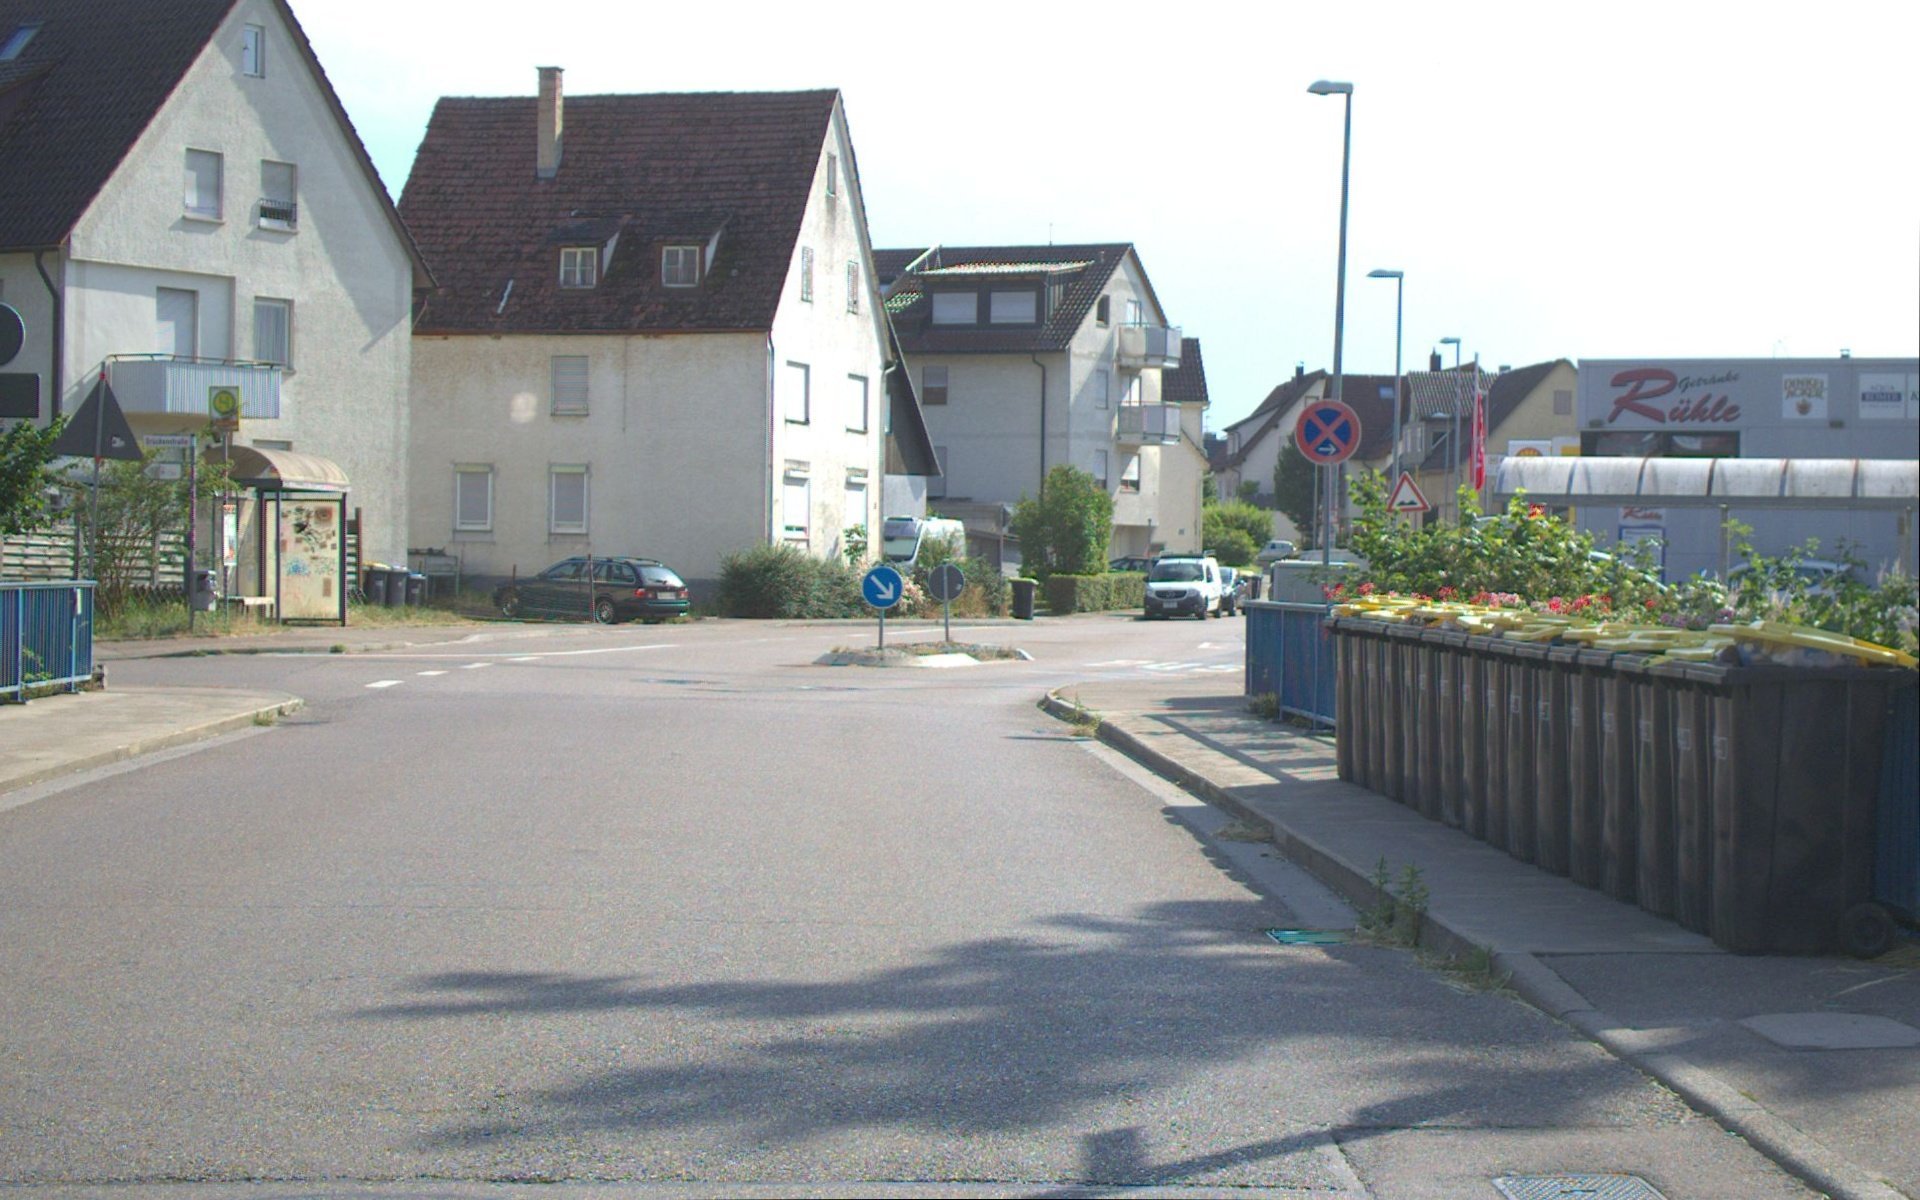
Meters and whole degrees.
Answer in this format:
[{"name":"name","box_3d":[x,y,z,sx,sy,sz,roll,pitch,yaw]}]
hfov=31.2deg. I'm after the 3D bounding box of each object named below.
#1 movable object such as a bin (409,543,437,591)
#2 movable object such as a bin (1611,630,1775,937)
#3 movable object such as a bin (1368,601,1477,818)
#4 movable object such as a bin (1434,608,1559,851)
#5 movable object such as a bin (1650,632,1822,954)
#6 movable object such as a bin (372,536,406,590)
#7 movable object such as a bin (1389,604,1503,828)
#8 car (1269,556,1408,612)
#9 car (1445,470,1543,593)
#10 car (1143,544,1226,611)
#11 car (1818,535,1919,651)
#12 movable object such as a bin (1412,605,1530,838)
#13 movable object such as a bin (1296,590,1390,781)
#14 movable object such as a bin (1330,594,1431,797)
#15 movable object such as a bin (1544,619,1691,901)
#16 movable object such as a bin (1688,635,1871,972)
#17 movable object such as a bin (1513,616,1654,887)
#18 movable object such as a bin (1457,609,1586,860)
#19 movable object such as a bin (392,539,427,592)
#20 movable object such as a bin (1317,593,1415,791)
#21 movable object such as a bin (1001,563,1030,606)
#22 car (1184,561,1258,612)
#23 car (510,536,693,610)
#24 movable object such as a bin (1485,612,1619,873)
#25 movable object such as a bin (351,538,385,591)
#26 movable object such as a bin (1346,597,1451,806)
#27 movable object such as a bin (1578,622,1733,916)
[{"name":"movable object such as a bin","box_3d":[-10.604,-0.652,67.916,0.361,0.922,0.399,1,0,29]},{"name":"movable object such as a bin","box_3d":[2.814,0.696,13.229,0.478,1.139,0.543,0,1,-3]},{"name":"movable object such as a bin","box_3d":[2.489,0.581,18.524,0.478,1.139,0.538,0,1,-3]},{"name":"movable object such as a bin","box_3d":[2.599,0.619,16.687,0.478,1.139,0.565,0,1,-3]},{"name":"movable object such as a bin","box_3d":[2.845,0.697,12.636,0.478,1.139,0.538,0,1,-3]},{"name":"movable object such as a bin","box_3d":[-11.110,-0.715,66.879,0.361,1.037,0.557,1,0,29]},{"name":"movable object such as a bin","box_3d":[2.529,0.596,17.921,0.478,1.139,0.538,0,1,-3]},{"name":"car","box_3d":[11.507,-0.497,104.698,1.994,1.602,3.999,0,2,-38]},{"name":"car","box_3d":[10.647,-1.369,68.643,1.837,2.366,5.177,1,1,9]},{"name":"car","box_3d":[6.493,-0.659,99.110,1.717,1.866,4.190,0,1,13]},{"name":"car","box_3d":[12.474,-0.094,42.729,3.440,1.412,1.497,0,0,17]},{"name":"movable object such as a bin","box_3d":[2.572,0.605,17.332,0.478,1.139,0.538,0,1,-3]},{"name":"movable object such as a bin","box_3d":[2.335,0.515,20.990,0.478,1.139,0.538,0,1,-3]},{"name":"movable object such as a bin","box_3d":[2.418,0.541,19.800,0.478,1.139,0.538,0,1,-3]},{"name":"movable object such as a bin","box_3d":[2.741,0.659,14.364,0.478,1.139,0.538,0,1,-3]},{"name":"movable object such as a bin","box_3d":[2.873,0.704,12.084,0.478,1.139,0.538,0,1,-3]},{"name":"movable object such as a bin","box_3d":[2.702,0.647,14.931,0.478,1.139,0.538,0,1,-3]},{"name":"movable object such as a bin","box_3d":[2.626,0.621,16.105,0.478,1.139,0.538,0,1,-3]},{"name":"movable object such as a bin","box_3d":[-10.783,-0.677,67.367,0.361,1.019,0.576,1,0,29]},{"name":"movable object such as a bin","box_3d":[2.401,0.538,20.369,0.478,1.139,0.538,0,1,-3]},{"name":"movable object such as a bin","box_3d":[1.430,-0.395,89.069,0.611,1.097,0.575,2,0,13]},{"name":"car","box_3d":[7.874,-0.431,103.443,1.673,1.446,3.832,0,1,13]},{"name":"car","box_3d":[-7.871,-0.608,75.367,3.997,1.428,1.649,3,3,40]},{"name":"movable object such as a bin","box_3d":[2.665,0.634,15.516,0.478,1.139,0.538,0,1,-3]},{"name":"movable object such as a bin","box_3d":[-11.415,-0.684,66.323,0.361,1.012,0.557,1,0,29]},{"name":"movable object such as a bin","box_3d":[2.443,0.559,19.184,0.478,1.139,0.538,0,1,-3]},{"name":"movable object such as a bin","box_3d":[2.783,0.666,13.793,0.478,1.139,0.538,0,1,-3]}]
